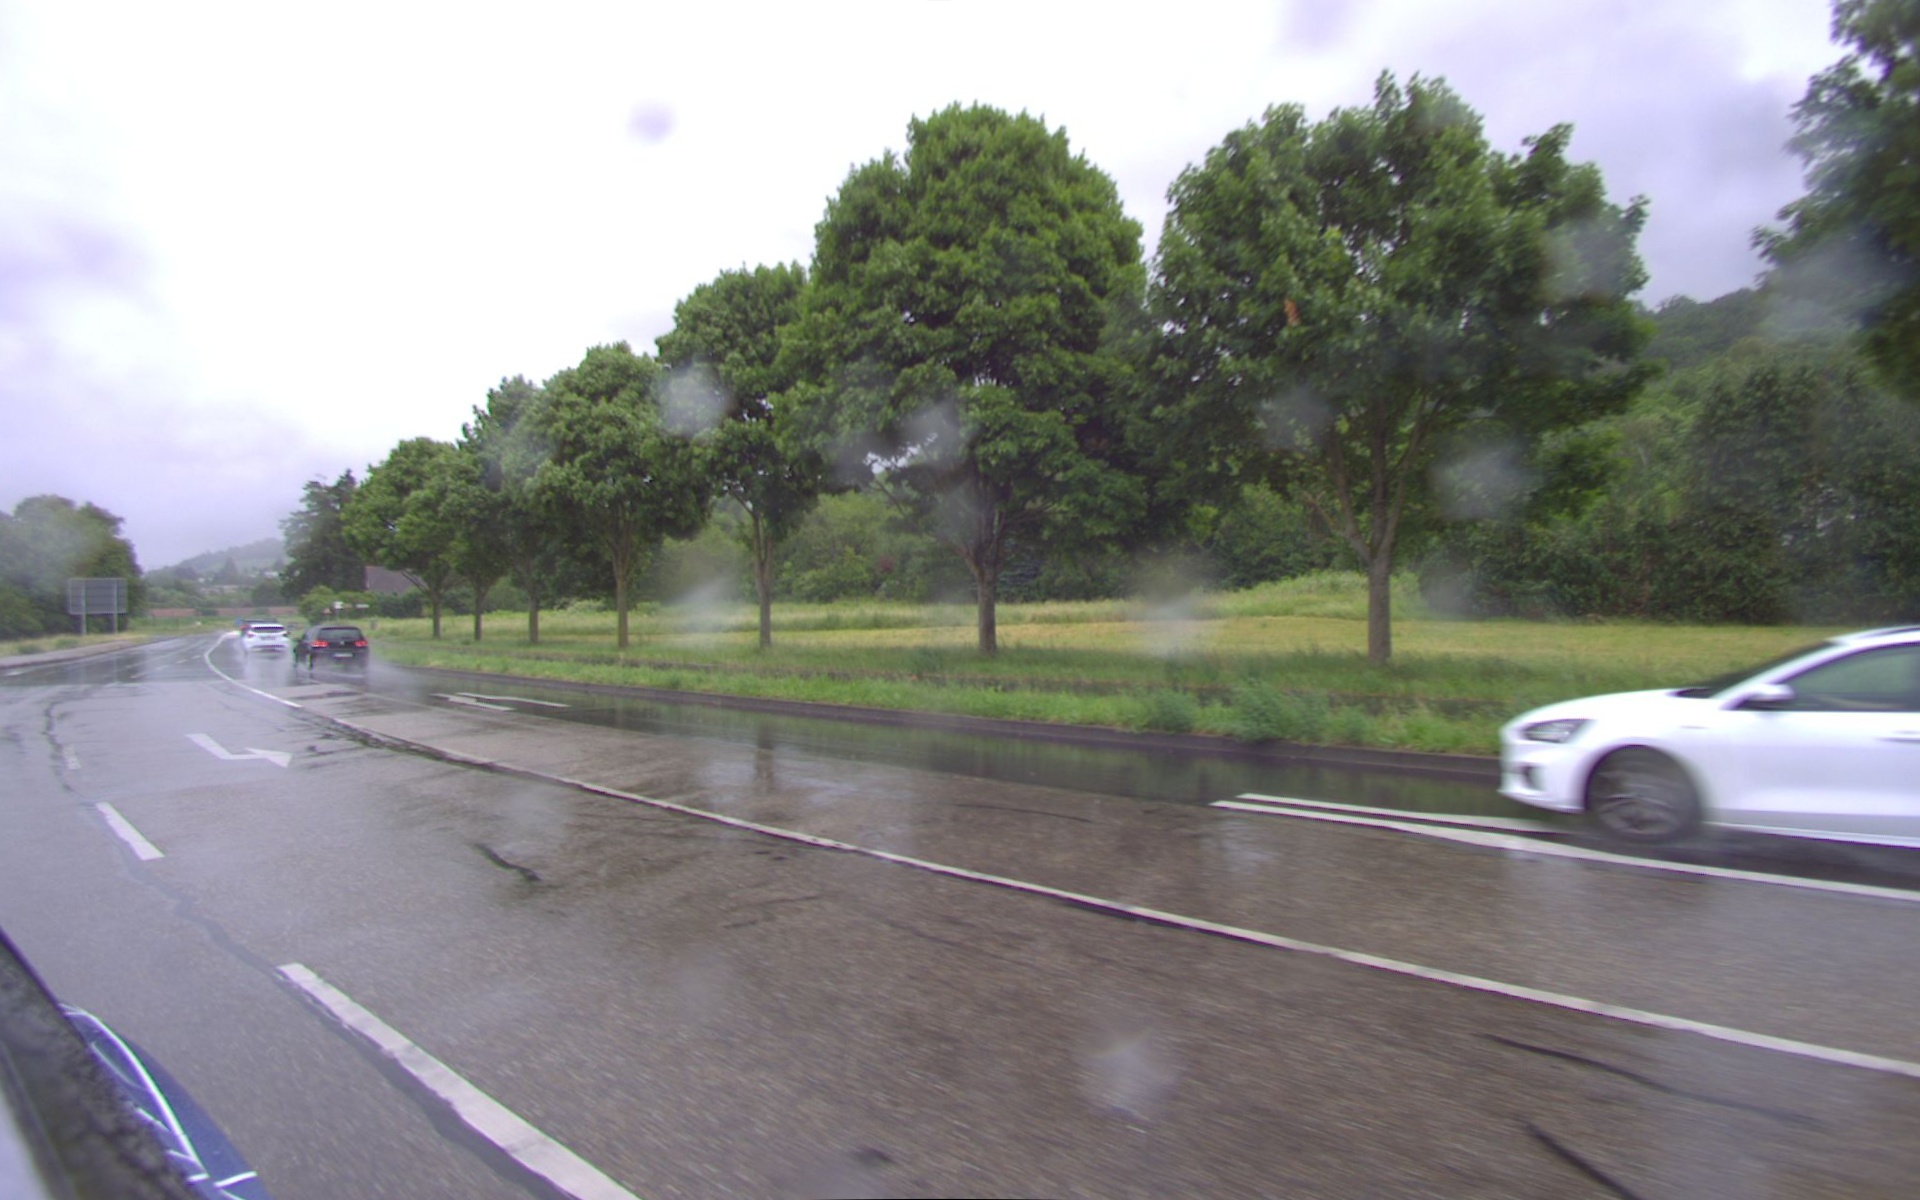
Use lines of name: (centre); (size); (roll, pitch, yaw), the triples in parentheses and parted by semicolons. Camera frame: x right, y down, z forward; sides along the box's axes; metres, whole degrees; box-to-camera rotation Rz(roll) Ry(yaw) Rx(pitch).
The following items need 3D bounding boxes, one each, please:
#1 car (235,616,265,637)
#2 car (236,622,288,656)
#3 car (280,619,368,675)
car: (-60.820, 2.248, 86.681); (1.899, 1.756, 4.297); (1, -2, -38)
car: (-32.066, 1.745, 46.445); (1.717, 1.498, 4.019); (1, -2, -38)
car: (-21.340, 1.516, 33.867); (1.861, 1.599, 4.125); (-3, 2, -41)
